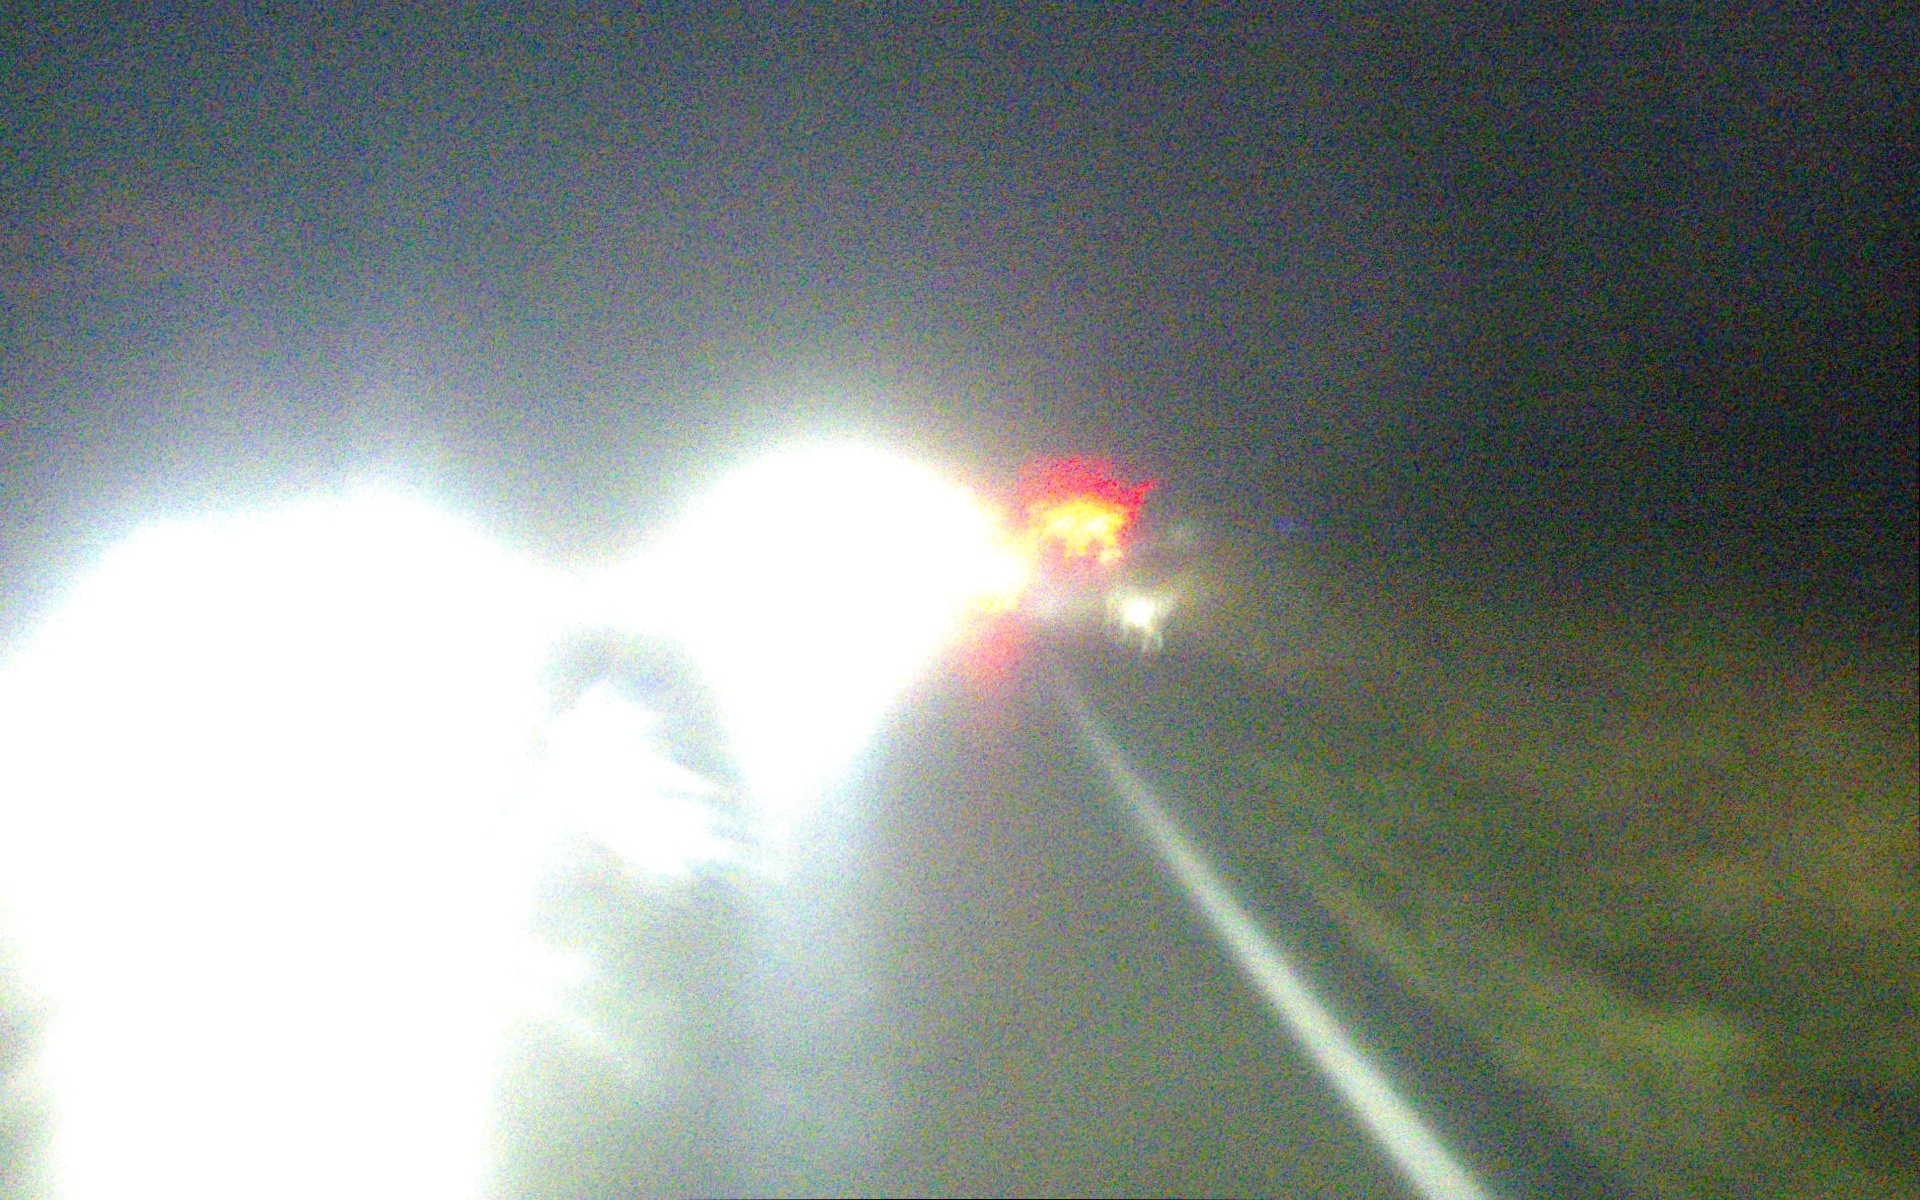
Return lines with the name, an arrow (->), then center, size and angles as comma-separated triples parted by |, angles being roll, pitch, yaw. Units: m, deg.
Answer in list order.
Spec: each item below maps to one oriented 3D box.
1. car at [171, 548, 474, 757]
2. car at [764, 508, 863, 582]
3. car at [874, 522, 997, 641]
car -> -4.586, 0.347, 25.166 | 1.596, 1.397, 3.470 | -1, 0, -1
car -> -3.323, -1.270, 78.586 | 1.993, 1.618, 4.000 | 1, 1, 1
car -> -0.359, -0.323, 53.813 | 1.842, 1.734, 4.000 | 0, 2, 0
